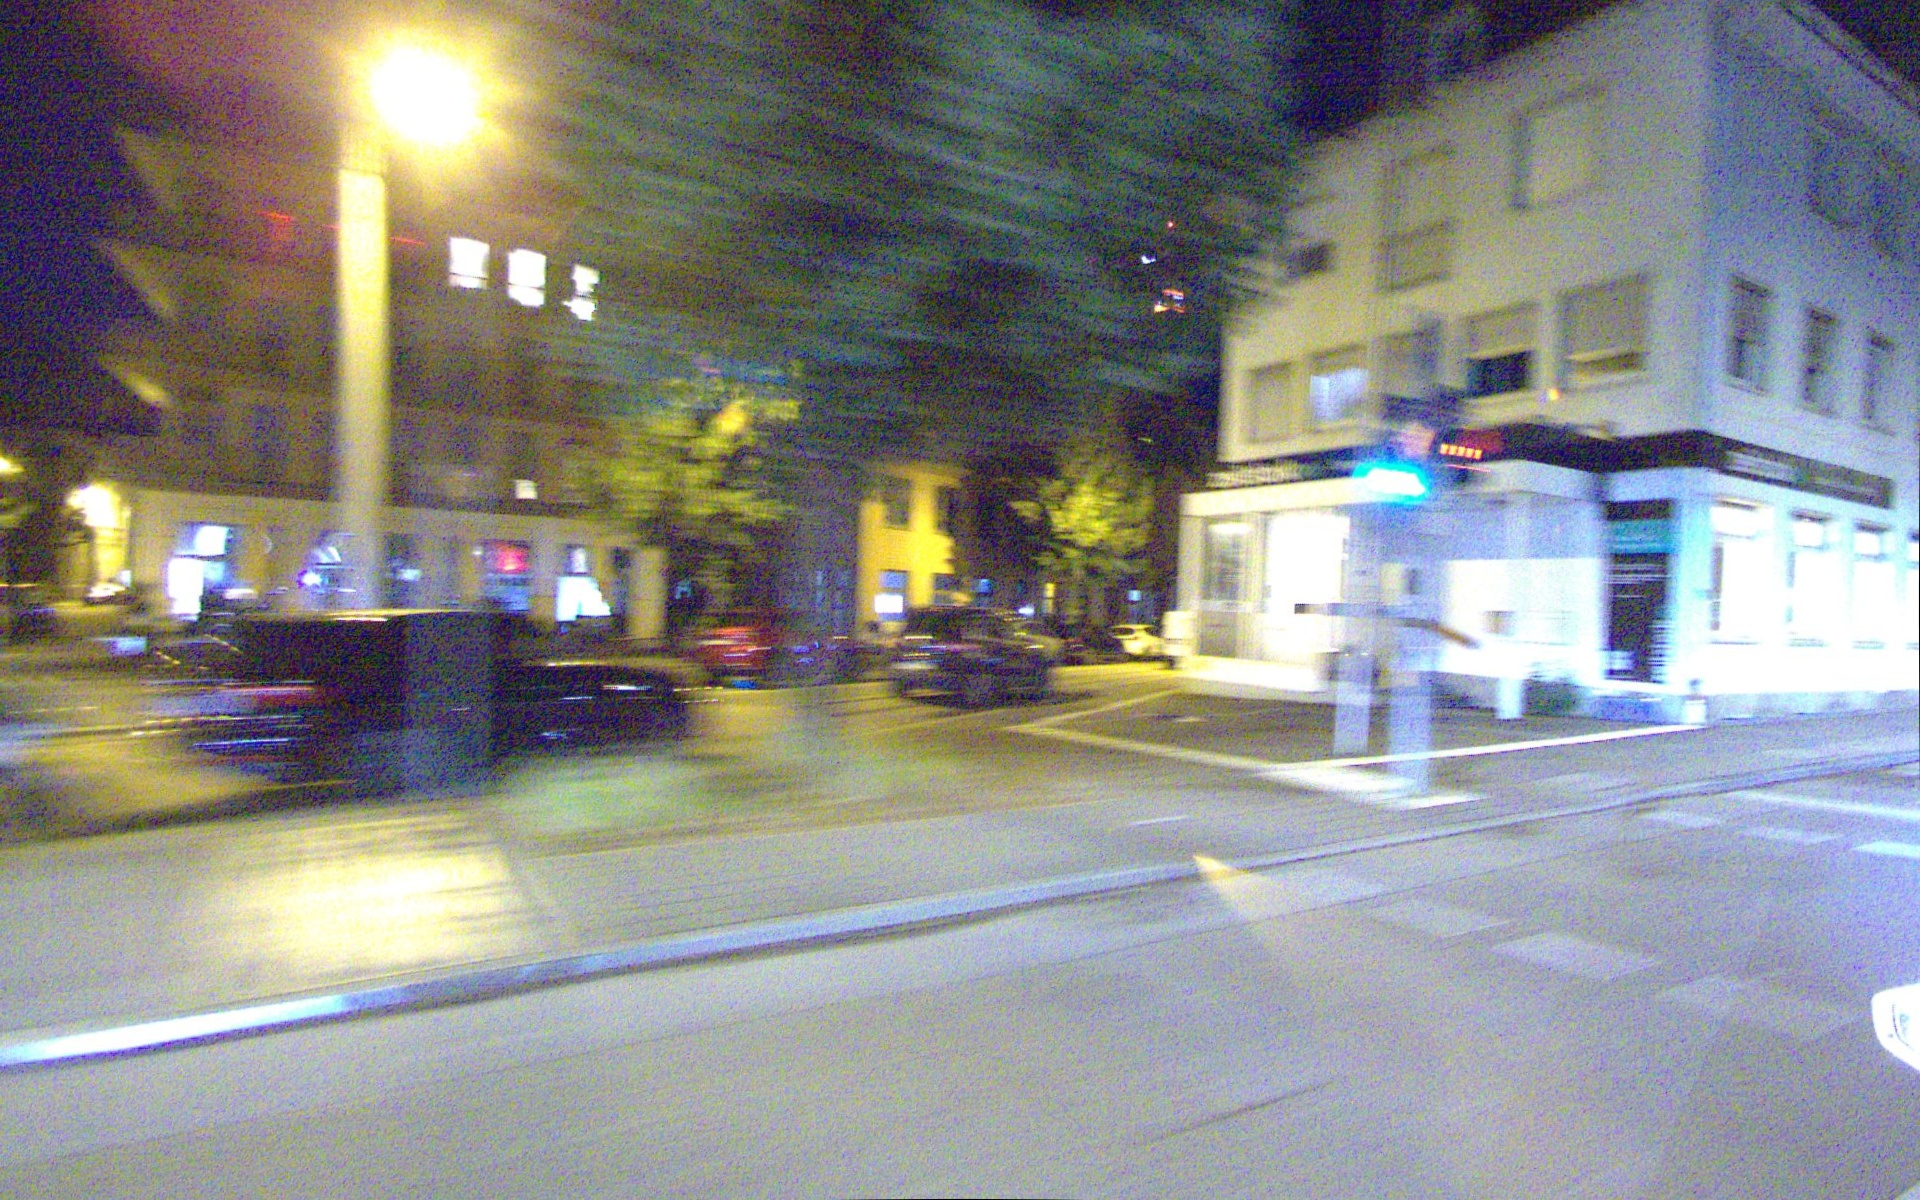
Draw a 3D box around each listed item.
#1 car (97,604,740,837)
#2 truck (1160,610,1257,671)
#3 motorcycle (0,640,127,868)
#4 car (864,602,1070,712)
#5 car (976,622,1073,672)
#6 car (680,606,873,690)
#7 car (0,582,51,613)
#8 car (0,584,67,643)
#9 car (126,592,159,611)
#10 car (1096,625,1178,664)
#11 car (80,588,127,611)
[{"bbox_3d":[-4.236,0.827,8.830,1.858,1.443,4.723,0,-2,28],"label":"car"},{"bbox_3d":[8.138,1.303,32.643,1.863,1.831,4.105,1,-1,32],"label":"truck"},{"bbox_3d":[-5.647,0.818,5.172,0.565,1.195,2.021,1,-1,42],"label":"motorcycle"},{"bbox_3d":[0.255,0.982,18.512,1.886,1.666,4.102,4,1,31],"label":"car"},{"bbox_3d":[2.117,1.455,32.242,1.579,1.508,3.547,0,-1,33],"label":"car"},{"bbox_3d":[-3.886,1.027,22.015,1.810,1.634,4.251,-1,-2,31],"label":"car"},{"bbox_3d":[-52.340,-0.118,56.040,1.677,1.636,3.660,3,-1,-31],"label":"car"},{"bbox_3d":[-25.866,0.325,27.130,1.903,1.475,4.175,3,-1,-33],"label":"car"},{"bbox_3d":[-69.206,0.104,85.047,1.590,1.514,3.474,3,-1,-31],"label":"car"},{"bbox_3d":[7.314,1.797,41.213,1.855,1.469,3.989,1,-1,34],"label":"car"},{"bbox_3d":[-61.385,-0.016,72.029,1.879,1.567,3.761,3,-1,-31],"label":"car"}]
